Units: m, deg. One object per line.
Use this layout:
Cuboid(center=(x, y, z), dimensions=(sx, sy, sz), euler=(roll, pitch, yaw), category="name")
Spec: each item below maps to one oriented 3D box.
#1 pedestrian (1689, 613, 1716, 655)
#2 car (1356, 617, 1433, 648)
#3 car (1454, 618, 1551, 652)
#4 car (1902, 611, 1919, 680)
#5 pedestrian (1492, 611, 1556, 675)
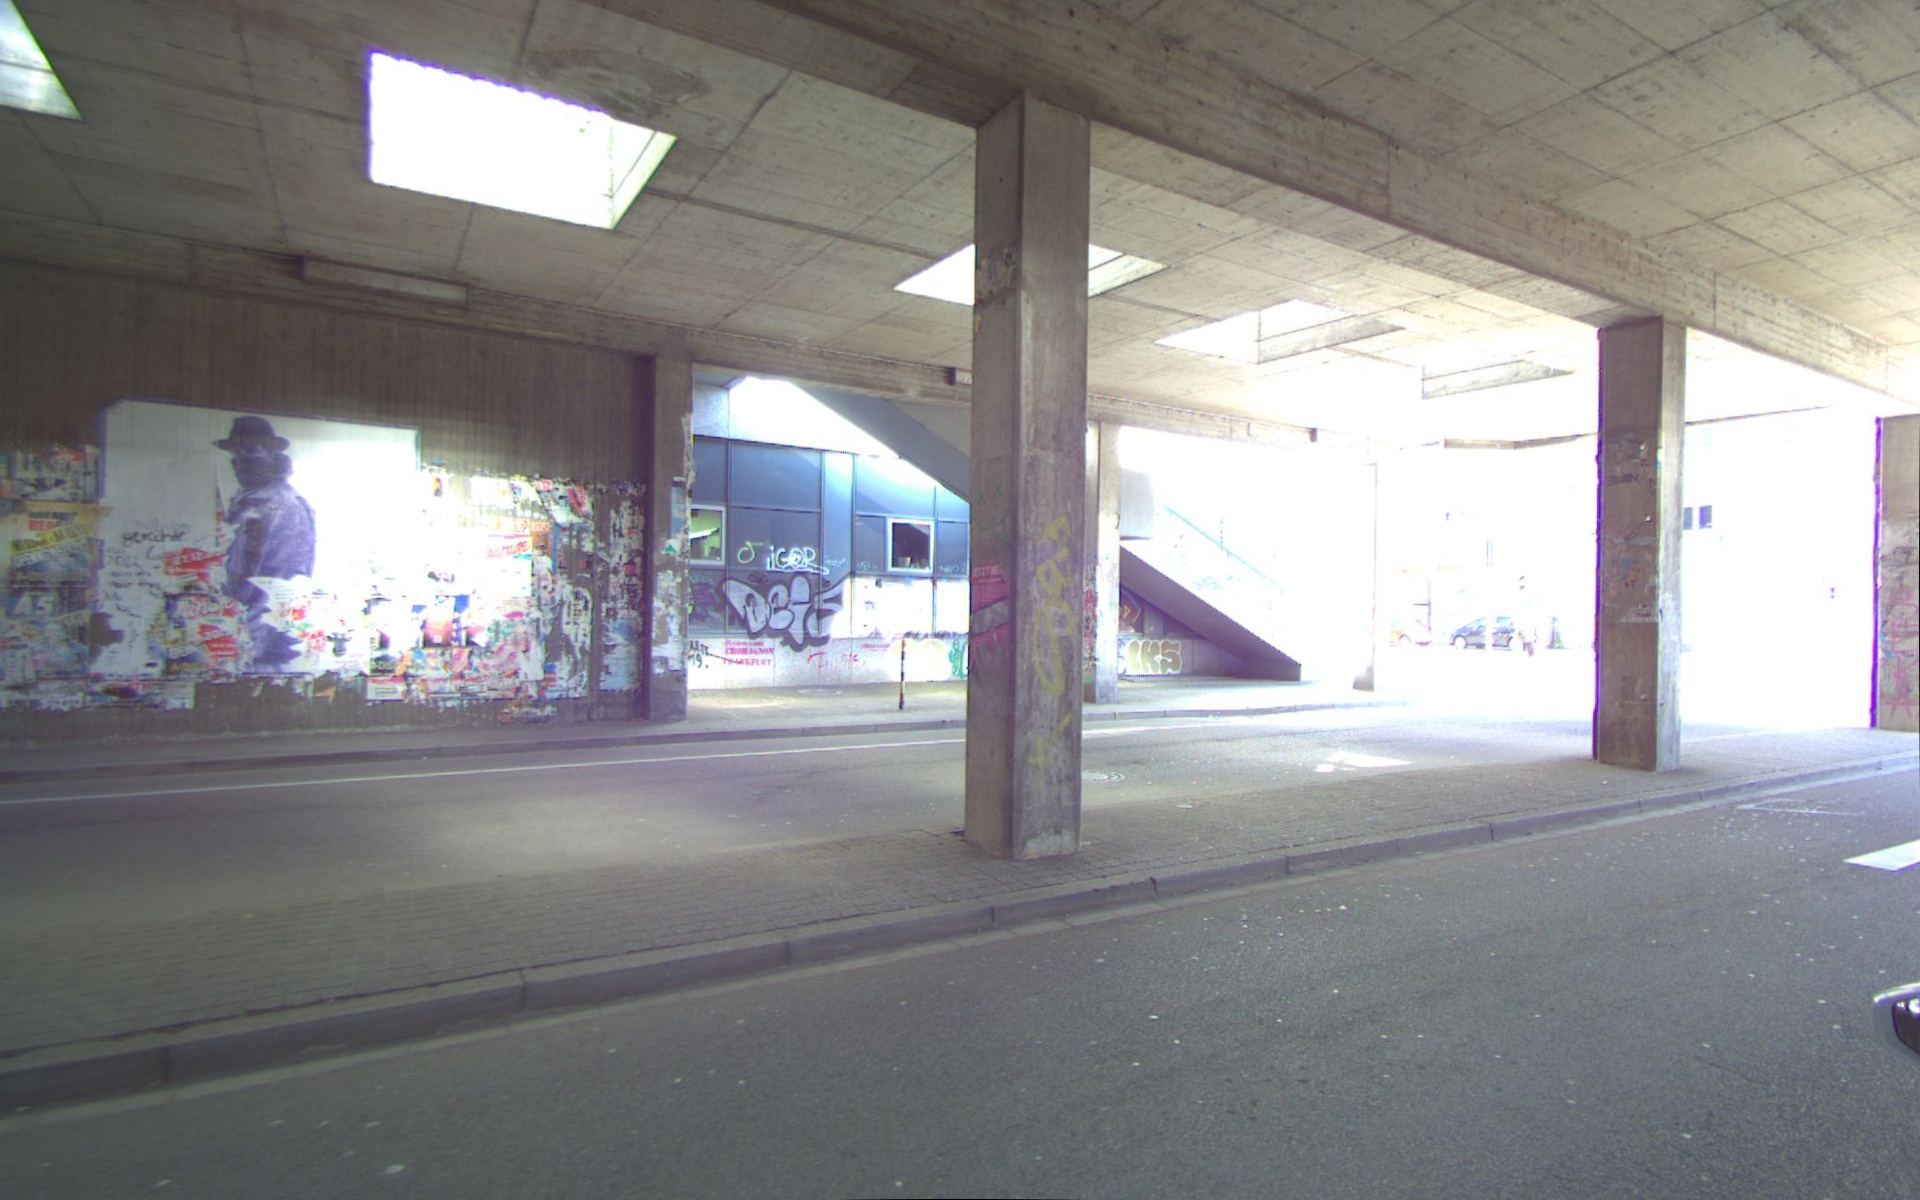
Cuboid(center=(30.928, 1.403, 41.857), dimensions=(0.618, 1.727, 0.716), euler=(1, 0, -35), category="pedestrian")
Cuboid(center=(22.690, 1.675, 52.609), dimensions=(1.543, 1.526, 3.517), euler=(1, -1, -29), category="car")
Cuboid(center=(25.713, 1.626, 47.731), dimensions=(1.732, 1.528, 3.735), euler=(1, -1, -31), category="car")
Cuboid(center=(25.231, 1.097, 23.438), dimensions=(1.983, 1.663, 4.541), euler=(0, -1, -39), category="car")
Cuboid(center=(15.949, 1.208, 28.425), dimensions=(1.123, 1.760, 1.111), euler=(1, -1, -17), category="pedestrian")
